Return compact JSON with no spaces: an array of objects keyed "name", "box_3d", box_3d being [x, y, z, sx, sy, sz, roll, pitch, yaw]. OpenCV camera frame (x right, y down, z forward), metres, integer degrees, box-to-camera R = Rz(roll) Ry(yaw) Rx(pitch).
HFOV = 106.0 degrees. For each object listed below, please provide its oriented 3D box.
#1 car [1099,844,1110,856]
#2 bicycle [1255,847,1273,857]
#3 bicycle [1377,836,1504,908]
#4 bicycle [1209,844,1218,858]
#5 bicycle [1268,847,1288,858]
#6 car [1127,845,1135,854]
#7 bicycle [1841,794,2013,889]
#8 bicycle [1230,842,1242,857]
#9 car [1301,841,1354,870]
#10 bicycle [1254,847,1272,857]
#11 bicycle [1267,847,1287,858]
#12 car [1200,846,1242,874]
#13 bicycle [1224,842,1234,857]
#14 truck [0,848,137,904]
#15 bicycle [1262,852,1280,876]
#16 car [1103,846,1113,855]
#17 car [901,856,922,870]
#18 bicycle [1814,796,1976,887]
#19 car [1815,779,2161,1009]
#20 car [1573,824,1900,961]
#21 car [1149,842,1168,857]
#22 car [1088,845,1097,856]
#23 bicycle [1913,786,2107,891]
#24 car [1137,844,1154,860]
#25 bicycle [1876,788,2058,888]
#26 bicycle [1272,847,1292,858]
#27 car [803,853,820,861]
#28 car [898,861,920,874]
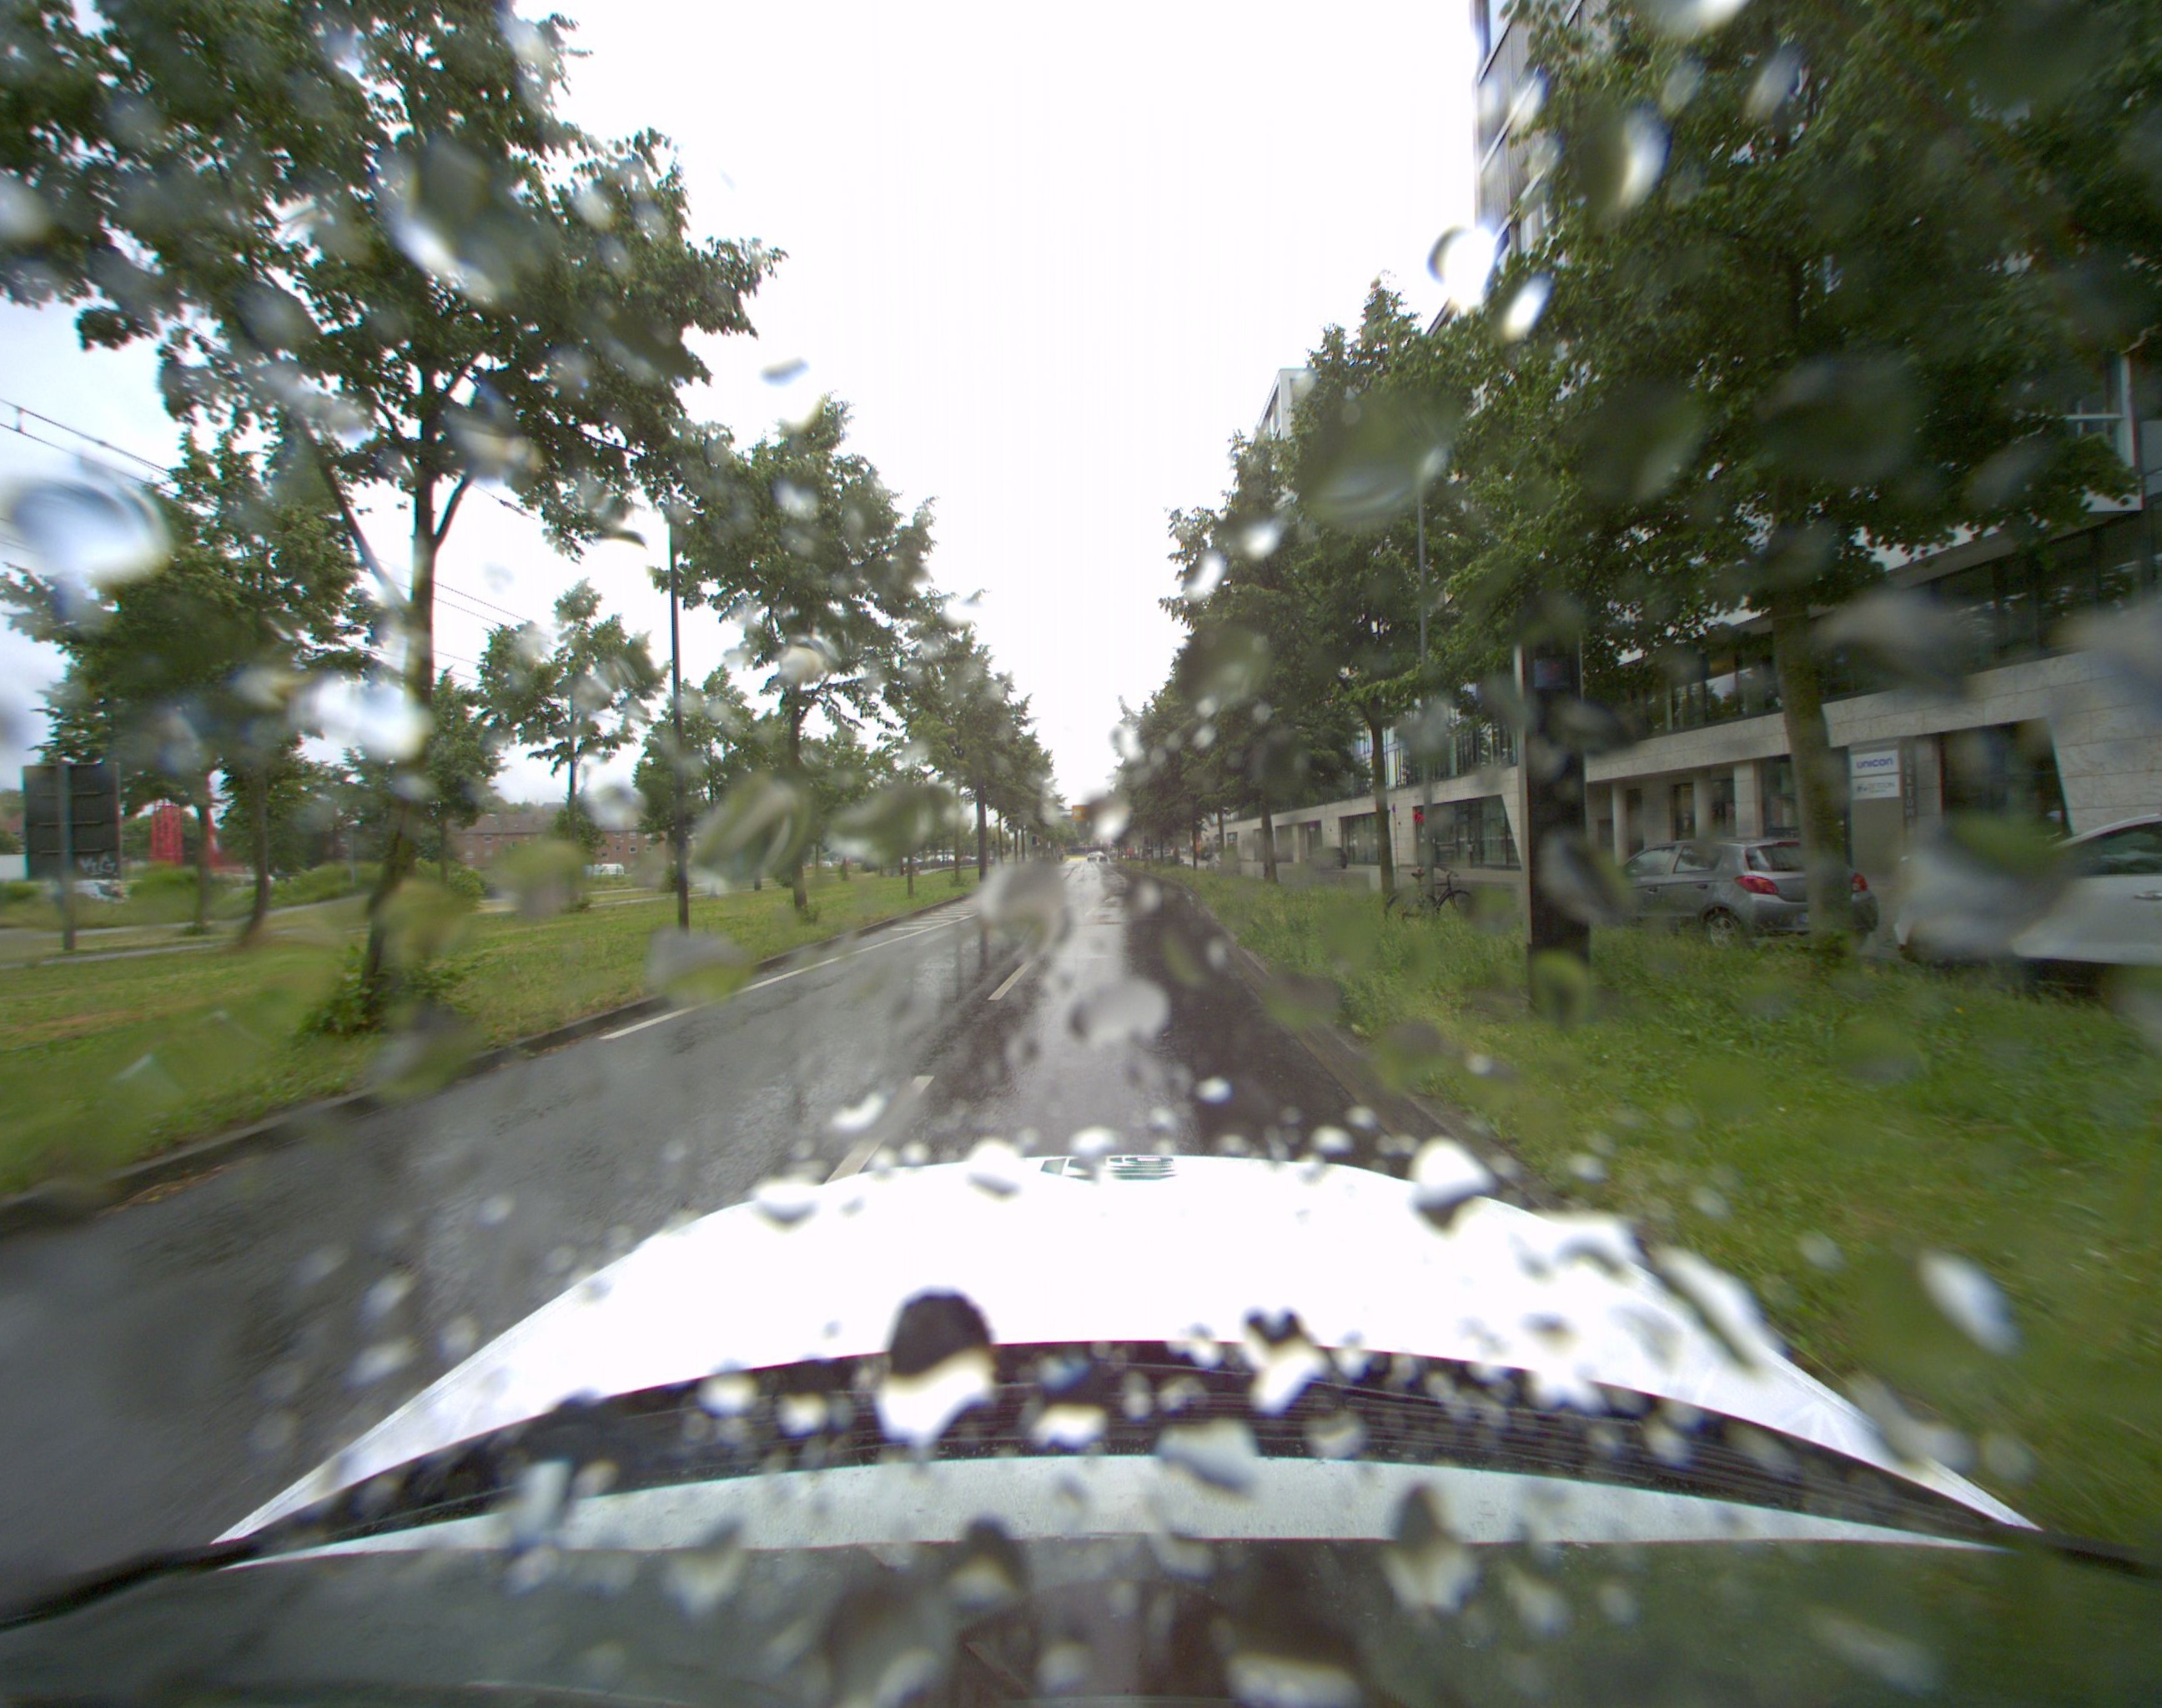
[{"name":"car","box_3d":[4.510,-0.726,154.253,1.934,2.013,4.001,-2,2,1]},{"name":"bicycle","box_3d":[18.796,-0.223,83.570,1.687,1.028,0.423,-2,0,2]},{"name":"bicycle","box_3d":[6.414,0.320,14.586,2.028,1.196,0.491,-2,0,0]},{"name":"bicycle","box_3d":[18.093,-0.427,111.524,0.642,1.722,3.120,-2,2,0]},{"name":"bicycle","box_3d":[18.907,-0.119,78.075,1.799,1.028,0.541,-2,0,2]},{"name":"car","box_3d":[12.448,-1.218,202.833,1.986,2.013,4.003,-2,2,2]},{"name":"bicycle","box_3d":[17.777,-0.252,17.156,2.667,1.860,0.708,-2,0,5]},{"name":"bicycle","box_3d":[19.232,-0.571,101.193,0.769,1.722,3.120,-2,2,0]},{"name":"car","box_3d":[15.973,0.054,53.113,1.986,1.501,5.037,-7,1,2]},{"name":"bicycle","box_3d":[18.799,-0.213,84.081,1.687,1.028,0.423,-2,0,2]},{"name":"bicycle","box_3d":[18.946,-0.118,78.682,1.799,1.028,0.541,-2,0,2]},{"name":"car","box_3d":[8.875,0.328,52.084,1.875,1.505,4.725,-2,2,1]},{"name":"bicycle","box_3d":[18.452,-0.556,101.501,0.642,1.722,3.120,-2,2,0]},{"name":"truck","box_3d":[-114.724,2.317,90.954,6.203,5.394,13.223,-3,3,-20]},{"name":"bicycle","box_3d":[7.188,0.362,30.817,0.340,0.822,1.904,-2,2,4]},{"name":"car","box_3d":[6.283,-0.842,187.196,1.984,2.013,4.006,-2,2,4]},{"name":"car","box_3d":[-19.345,1.048,93.313,1.485,1.298,4.971,-3,-2,-2]},{"name":"bicycle","box_3d":[17.849,-0.271,17.901,2.667,1.860,0.708,-2,0,5]},{"name":"car","box_3d":[8.796,0.235,6.329,1.987,1.668,4.725,-2,2,1]},{"name":"car","box_3d":[8.681,0.379,11.228,1.620,1.490,3.657,-2,2,1]},{"name":"car","box_3d":[9.635,-0.546,100.992,1.900,1.791,4.688,-2,0,0]},{"name":"car","box_3d":[2.415,-0.739,172.080,1.881,2.013,4.001,-2,2,1]},{"name":"bicycle","box_3d":[17.724,-0.286,15.581,2.667,1.860,0.708,-2,0,5]},{"name":"car","box_3d":[9.413,-0.294,119.515,2.114,2.274,4.564,-2,0,0]},{"name":"bicycle","box_3d":[17.751,-0.306,16.363,2.667,1.860,0.708,-2,0,5]},{"name":"bicycle","box_3d":[18.926,-0.148,76.798,1.799,1.028,0.402,-2,0,2]},{"name":"car","box_3d":[-61.062,0.689,184.496,3.548,1.738,1.693,-3,3,-24]},{"name":"car","box_3d":[-19.690,1.538,93.193,1.545,1.266,4.850,-2,2,-2]}]
